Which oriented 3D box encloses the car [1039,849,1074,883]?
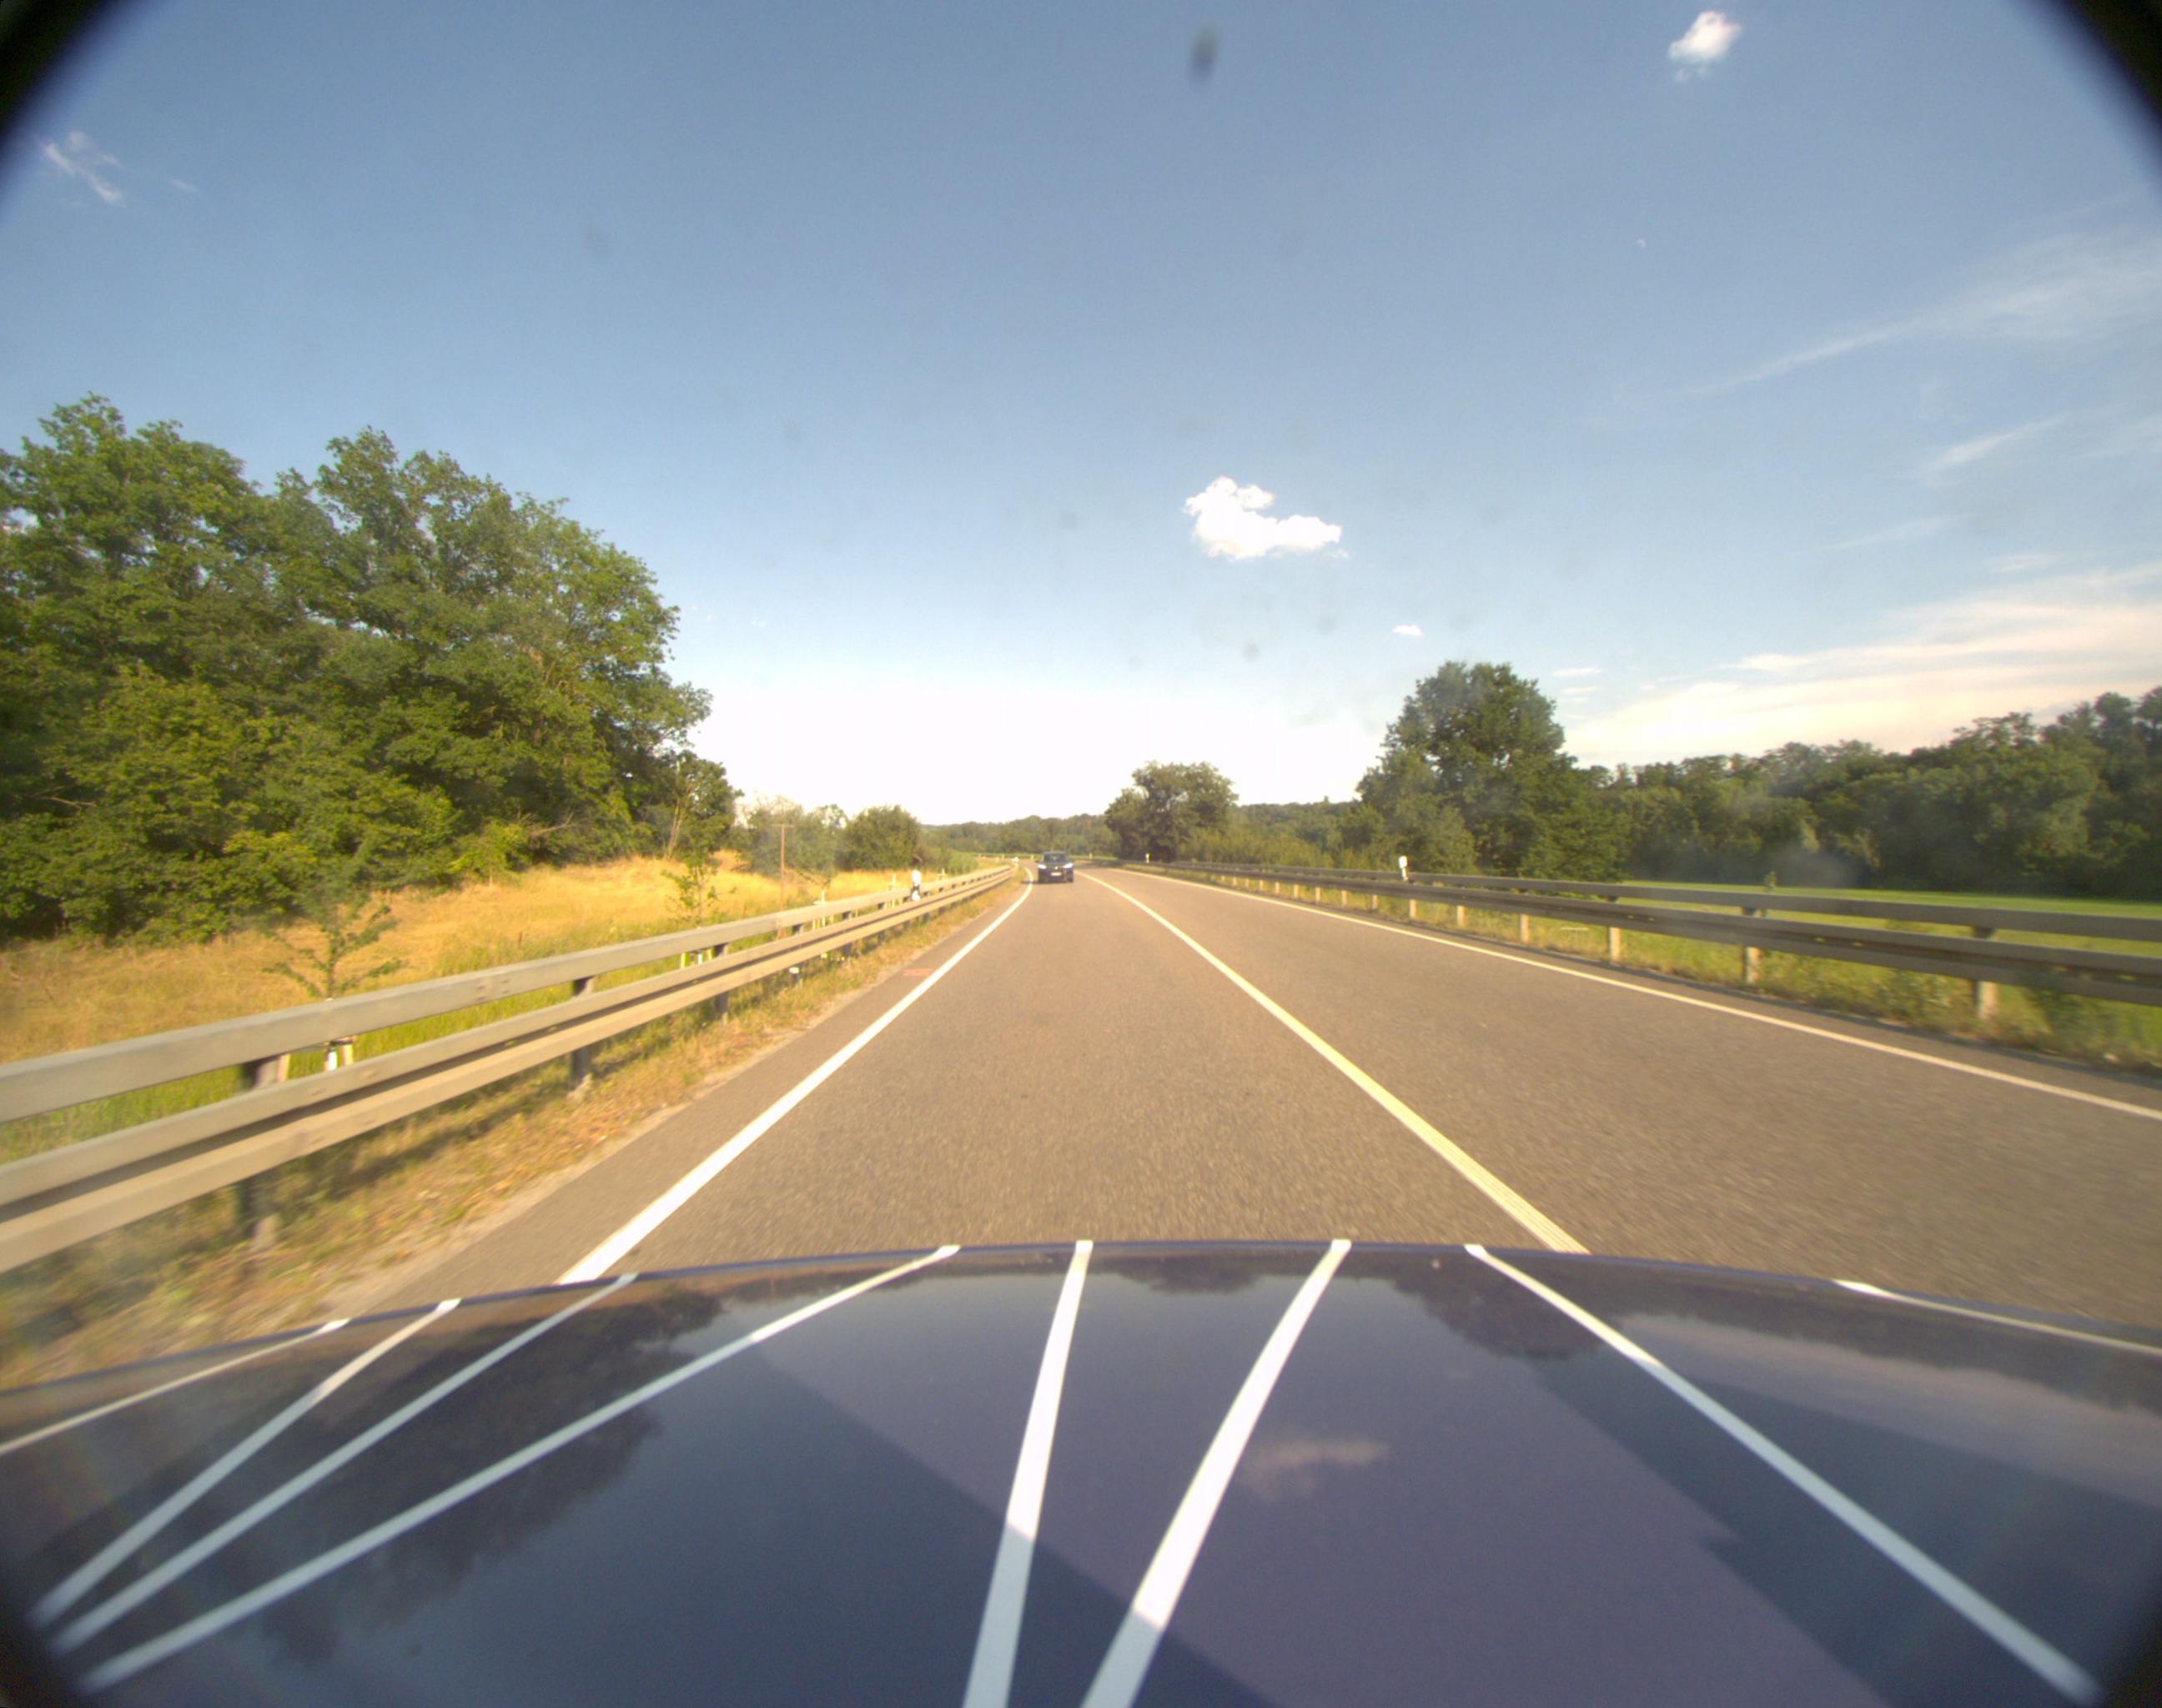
[{"bbox_3d":[-1.315,0.600,40.433,1.751,1.645,4.305,-2,1,-2],"label":"car"}]
